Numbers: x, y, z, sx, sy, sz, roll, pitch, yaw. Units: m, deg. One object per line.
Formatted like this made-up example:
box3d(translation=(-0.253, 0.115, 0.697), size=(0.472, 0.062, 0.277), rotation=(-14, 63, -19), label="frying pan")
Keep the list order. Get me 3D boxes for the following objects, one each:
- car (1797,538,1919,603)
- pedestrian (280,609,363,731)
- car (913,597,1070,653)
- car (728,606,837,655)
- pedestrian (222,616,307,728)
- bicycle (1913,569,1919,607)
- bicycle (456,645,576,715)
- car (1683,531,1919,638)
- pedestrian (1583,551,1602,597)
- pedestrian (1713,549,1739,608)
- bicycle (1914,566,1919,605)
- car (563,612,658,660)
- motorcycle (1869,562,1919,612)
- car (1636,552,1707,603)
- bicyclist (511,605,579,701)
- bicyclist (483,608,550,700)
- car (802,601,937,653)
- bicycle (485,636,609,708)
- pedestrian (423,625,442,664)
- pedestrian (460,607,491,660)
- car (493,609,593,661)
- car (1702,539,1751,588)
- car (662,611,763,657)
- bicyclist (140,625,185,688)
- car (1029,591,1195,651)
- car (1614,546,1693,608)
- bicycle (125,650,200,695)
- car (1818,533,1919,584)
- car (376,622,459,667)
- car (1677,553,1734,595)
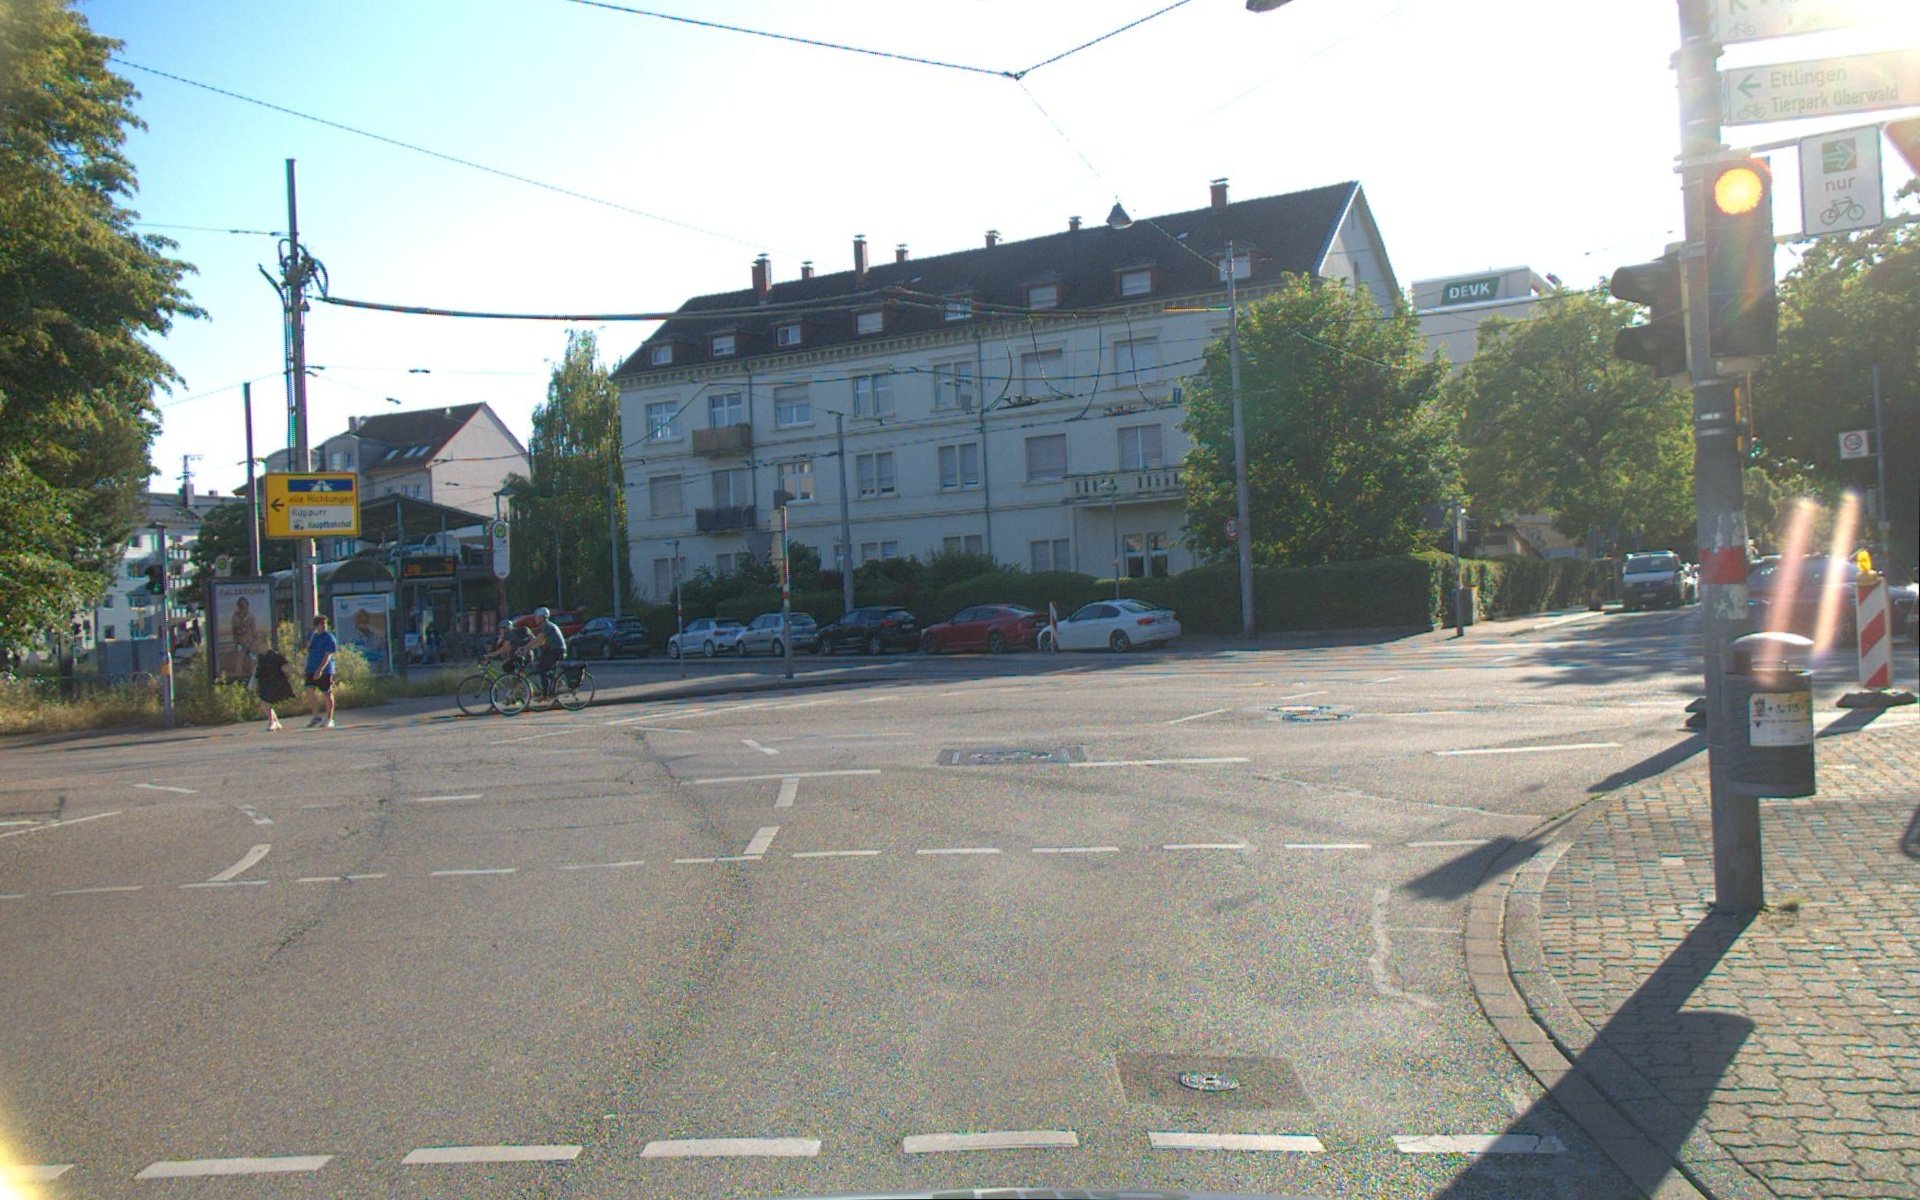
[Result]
box3d(translation=(31.341, -1.016, 55.671), size=(5.510, 1.958, 2.360), rotation=(-3, -2, 26), label="car")
box3d(translation=(-10.750, 1.159, 27.879), size=(0.893, 1.958, 1.067), rotation=(-3, 0, 0), label="pedestrian")
box3d(translation=(0.912, 0.771, 50.124), size=(4.625, 1.400, 1.974), rotation=(-3, 2, 44), label="car")
box3d(translation=(-6.212, 1.089, 57.767), size=(1.970, 1.472, 3.663), rotation=(-6, 2, -41), label="car")
box3d(translation=(-11.609, 1.184, 27.636), size=(0.893, 1.777, 1.067), rotation=(-3, 0, 0), label="pedestrian")
box3d(translation=(24.731, -0.344, 41.182), size=(1.691, 0.949, 0.561), rotation=(-3, 0, 29), label="bicycle")
box3d(translation=(-7.905, 1.417, 29.519), size=(1.976, 1.087, 0.662), rotation=(-3, 0, -11), label="bicycle")
box3d(translation=(14.096, -0.197, 27.184), size=(1.860, 1.591, 4.379), rotation=(-1, -1, -12), label="car")
box3d(translation=(24.429, -0.996, 63.870), size=(0.567, 1.761, 0.608), rotation=(-3, 0, 23), label="pedestrian")
box3d(translation=(24.547, -0.691, 53.011), size=(0.648, 1.871, 0.682), rotation=(-3, 0, 28), label="pedestrian")
box3d(translation=(24.371, -0.398, 40.504), size=(1.691, 0.949, 0.561), rotation=(-3, 0, 29), label="bicycle")
box3d(translation=(-14.193, 1.483, 66.971), size=(1.830, 1.696, 4.304), rotation=(-6, 2, -41), label="car")
box3d(translation=(22.933, -0.328, 39.593), size=(1.912, 1.128, 0.837), rotation=(-3, 0, 24), label="motorcycle")
box3d(translation=(28.348, -0.915, 65.761), size=(2.308, 1.826, 5.306), rotation=(-3, 0, 26), label="car")
box3d(translation=(-7.078, 0.890, 28.255), size=(1.016, 1.558, 0.696), rotation=(-3, 0, -12), label="bicyclist")
box3d(translation=(-7.899, 0.948, 29.493), size=(1.015, 1.558, 0.659), rotation=(-3, 0, -10), label="bicyclist")
box3d(translation=(-3.032, 0.914, 54.572), size=(1.970, 1.472, 4.634), rotation=(-6, 2, -41), label="car")
box3d(translation=(-7.041, 1.221, 28.270), size=(1.978, 1.087, 0.661), rotation=(-3, 0, -13), label="bicycle")
box3d(translation=(-21.089, 1.796, 66.138), size=(0.560, 1.527, 0.672), rotation=(-3, 0, -29), label="pedestrian")
box3d(translation=(-19.102, 1.332, 65.219), size=(0.914, 2.049, 0.759), rotation=(-3, 0, -37), label="pedestrian")
box3d(translation=(-18.164, 1.526, 71.950), size=(2.039, 1.995, 5.073), rotation=(-6, 2, -41), label="car")
box3d(translation=(43.110, -2.029, 92.945), size=(2.308, 2.558, 5.306), rotation=(-3, 0, 26), label="car")
box3d(translation=(-9.176, 1.277, 61.213), size=(1.830, 1.472, 3.899), rotation=(-6, 2, -41), label="car")
box3d(translation=(-22.057, 1.566, 45.753), size=(0.654, 1.681, 0.887), rotation=(-3, 0, 14), label="bicyclist")
box3d(translation=(4.198, 0.593, 46.181), size=(1.916, 1.400, 4.426), rotation=(-6, 2, -43), label="car")
box3d(translation=(25.346, -0.867, 60.336), size=(2.308, 2.049, 5.306), rotation=(-3, 0, 26), label="car")
box3d(translation=(-22.033, 1.992, 45.720), size=(0.647, 1.087, 2.020), rotation=(-3, 0, 16), label="bicycle")
box3d(translation=(40.815, -1.825, 73.121), size=(4.990, 1.958, 2.360), rotation=(-3, -2, 26), label="car")
box3d(translation=(-27.192, 2.239, 82.786), size=(2.039, 1.995, 5.073), rotation=(-6, 2, -41), label="car")
box3d(translation=(35.641, -1.246, 78.973), size=(2.308, 1.826, 5.306), rotation=(-3, 0, 26), label="car")
